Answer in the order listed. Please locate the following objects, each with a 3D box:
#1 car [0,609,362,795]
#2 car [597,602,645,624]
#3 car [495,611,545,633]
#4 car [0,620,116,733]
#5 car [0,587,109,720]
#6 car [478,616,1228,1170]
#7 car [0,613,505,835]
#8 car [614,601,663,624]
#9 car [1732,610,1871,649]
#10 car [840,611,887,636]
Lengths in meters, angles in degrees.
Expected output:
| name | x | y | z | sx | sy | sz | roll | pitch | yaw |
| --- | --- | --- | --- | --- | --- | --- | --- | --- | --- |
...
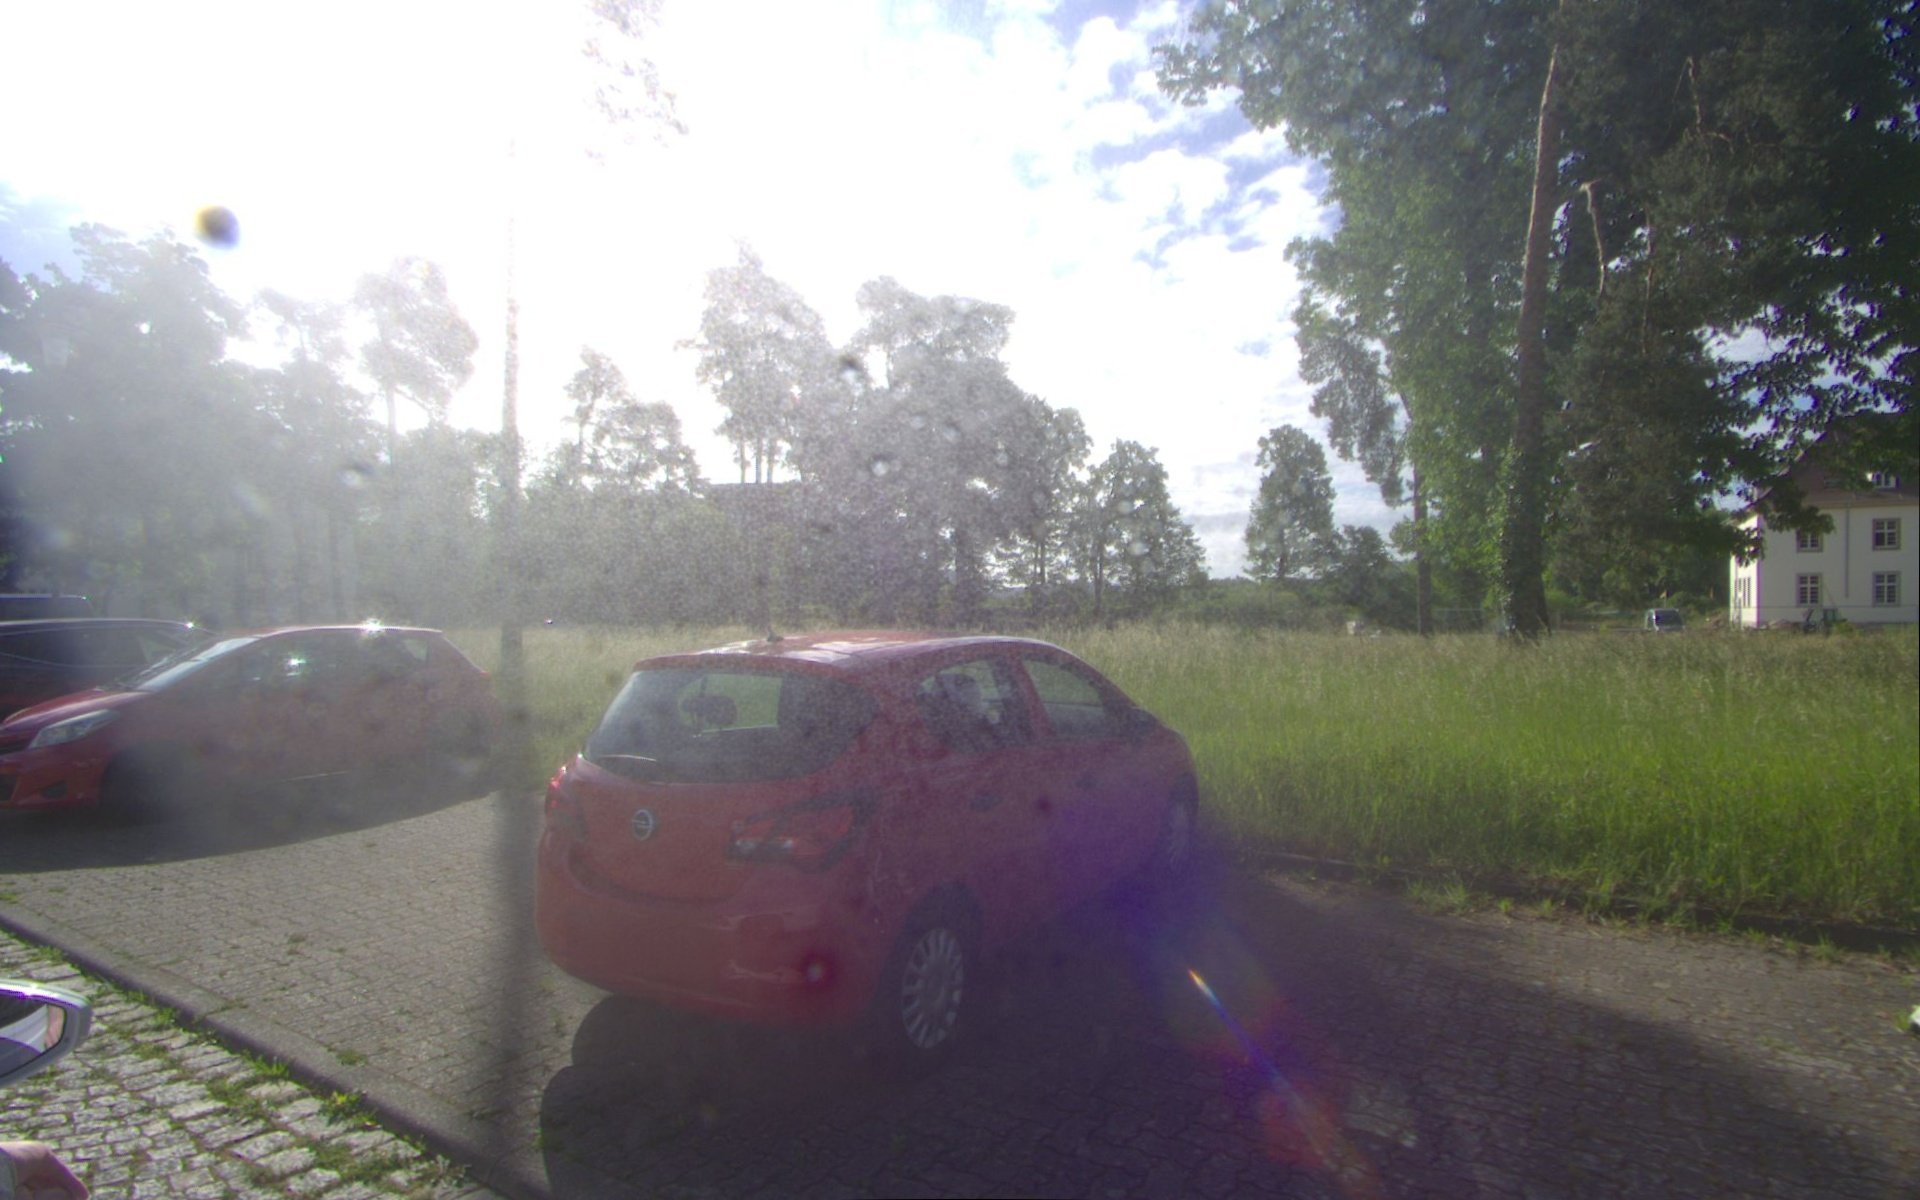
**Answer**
| name | x | y | z | sx | sy | sz | roll | pitch | yaw |
| --- | --- | --- | --- | --- | --- | --- | --- | --- | --- |
| car | -8.626 | 0.922 | 10.285 | 1.746 | 1.643 | 3.930 | 0 | -1 | 31 |
| car | -31.793 | 1.220 | 94.029 | 1.971 | 2.040 | 3.979 | 0 | -1 | 32 |
| car | -42.091 | 2.073 | 95.802 | 1.971 | 2.040 | 3.979 | 0 | -1 | 32 |
| car | -14.050 | 1.059 | 13.546 | 1.621 | 1.508 | 3.714 | 0 | 0 | 30 |
| car | -16.178 | 0.818 | 15.120 | 2.052 | 2.040 | 4.672 | 0 | -1 | 29 |
| car | -0.072 | 0.856 | 4.858 | 1.622 | 1.498 | 3.819 | 0 | 0 | 32 |
| car | -6.302 | 0.901 | 9.042 | 1.622 | 1.550 | 3.755 | 0 | -1 | 32 |
| car | -29.866 | 1.165 | 93.091 | 1.971 | 2.040 | 3.979 | 0 | -1 | 32 |
| car | 50.338 | 1.775 | 60.017 | 2.346 | 2.199 | 5.976 | 1 | -2 | -35 |
| car | -8.204 | 1.986 | 85.389 | 1.971 | 2.040 | 3.979 | 0 | -1 | 32 |
